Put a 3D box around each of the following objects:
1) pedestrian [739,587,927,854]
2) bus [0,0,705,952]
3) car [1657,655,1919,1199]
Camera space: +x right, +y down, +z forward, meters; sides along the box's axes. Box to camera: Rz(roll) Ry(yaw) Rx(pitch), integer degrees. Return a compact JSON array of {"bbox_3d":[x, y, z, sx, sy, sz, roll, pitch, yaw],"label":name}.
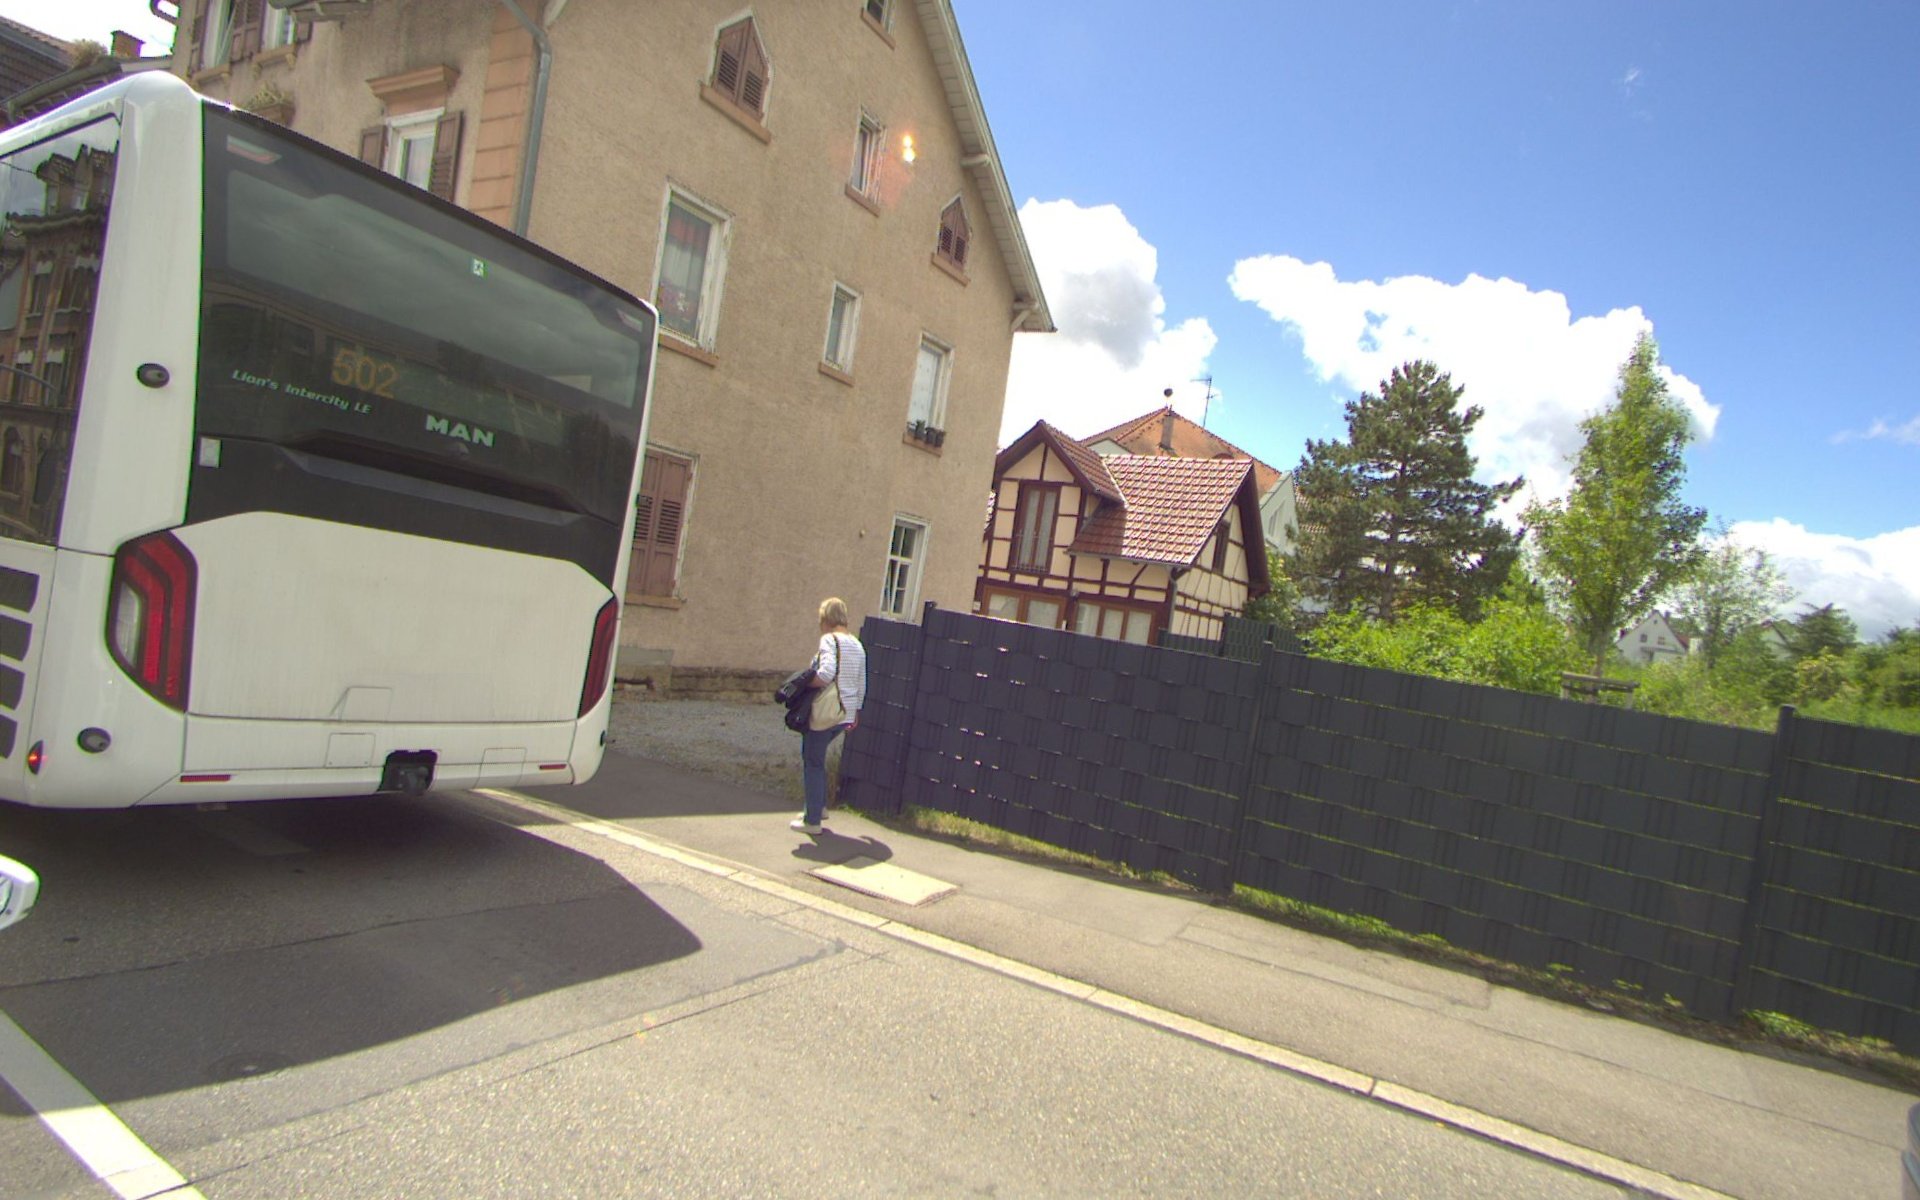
[{"bbox_3d":[-0.829,0.765,6.700,0.700,1.581,0.860,7,1,31],"label":"pedestrian"},{"bbox_3d":[-7.480,-0.891,7.717,12.255,3.192,2.678,7,-2,32],"label":"bus"},{"bbox_3d":[3.398,1.204,0.662,4.605,1.631,1.924,7,-2,32],"label":"car"}]
